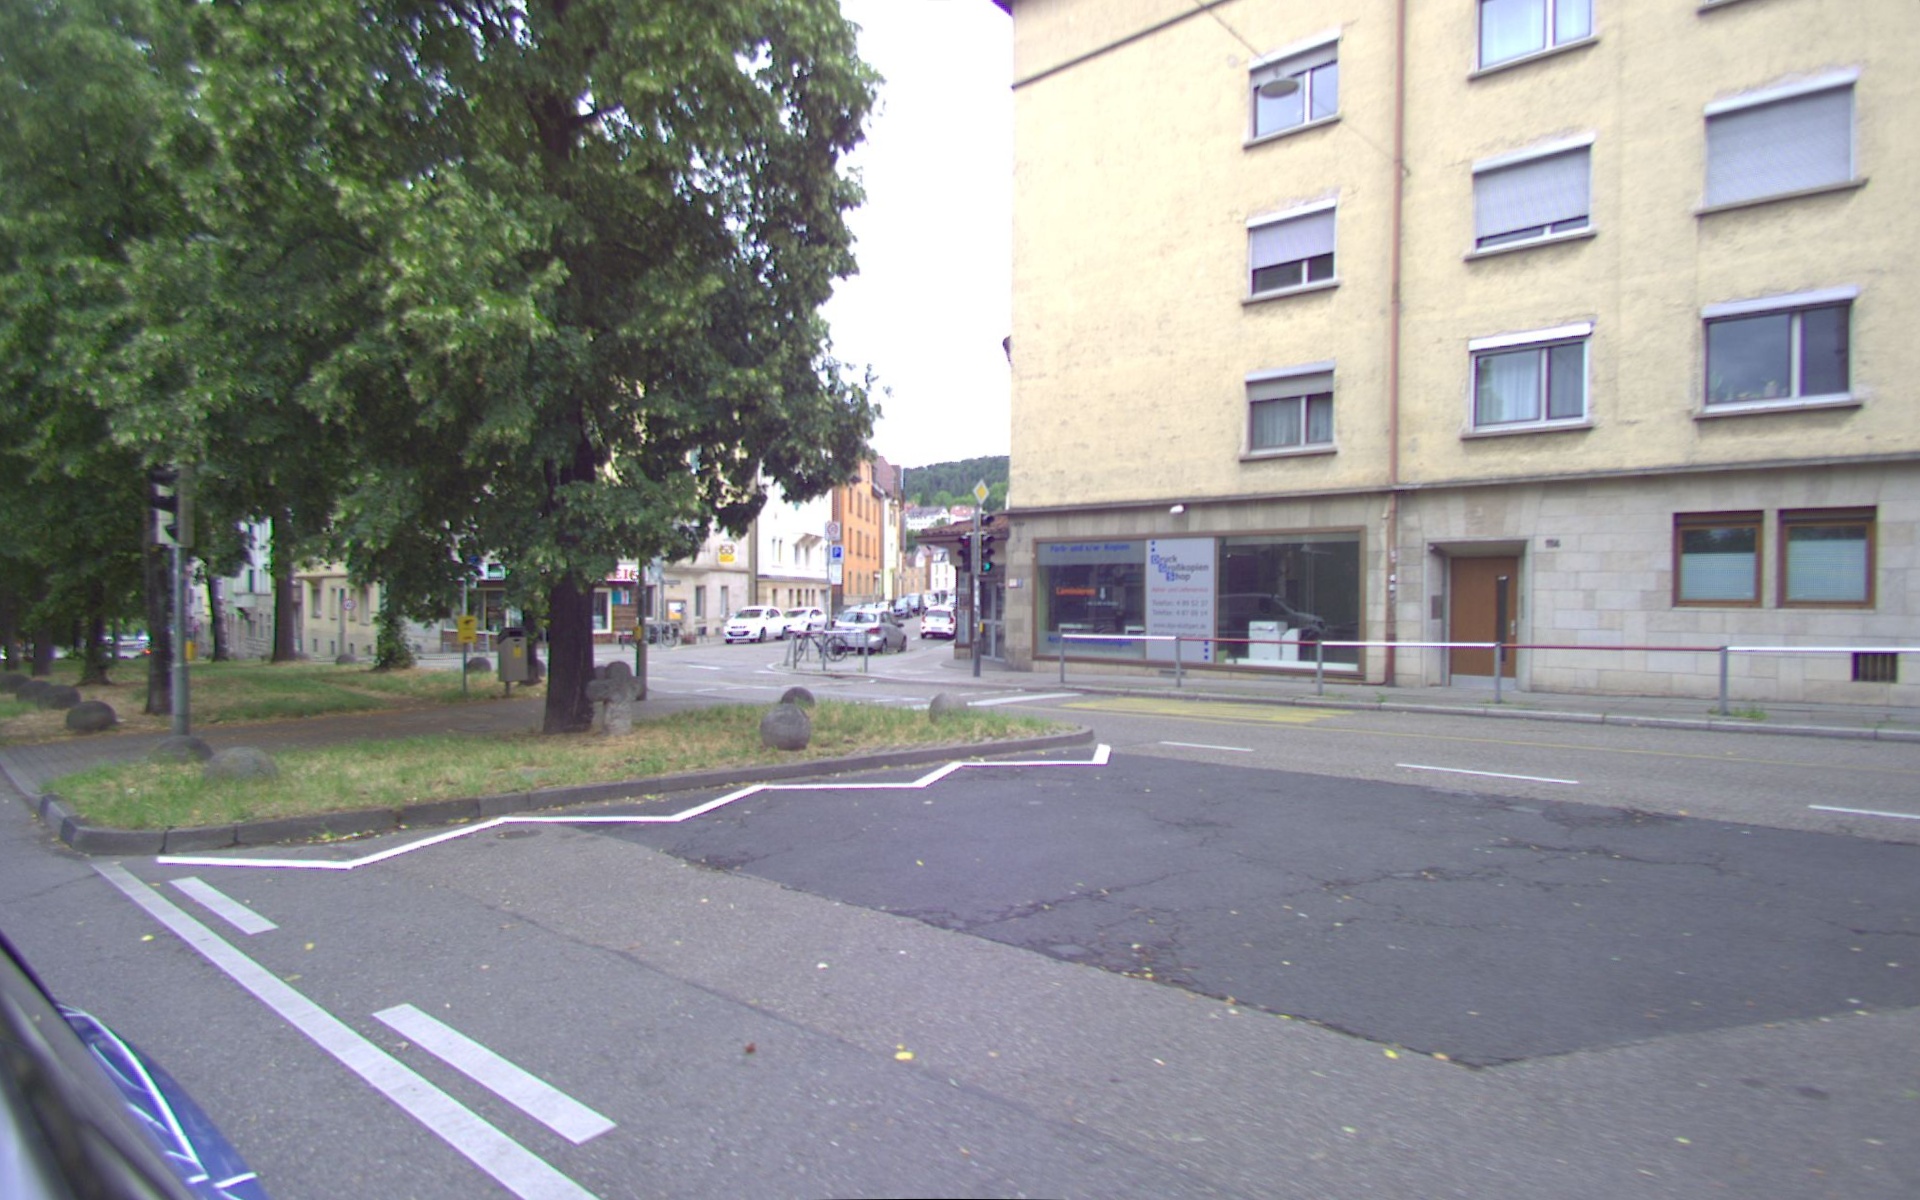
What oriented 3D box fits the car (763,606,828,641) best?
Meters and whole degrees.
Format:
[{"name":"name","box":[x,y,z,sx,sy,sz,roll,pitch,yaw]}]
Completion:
[{"name":"car","box":[-7.701,1.084,47.716,1.845,1.553,3.500,-1,0,13]}]

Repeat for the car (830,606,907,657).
[{"name":"car","box":[-3.036,1.035,34.303,1.670,1.553,3.630,-3,0,9]}]

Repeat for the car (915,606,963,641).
[{"name":"car","box":[-0.946,1.064,47.536,1.709,1.553,3.504,-1,0,8]}]

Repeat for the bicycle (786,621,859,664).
[{"name":"bicycle","box":[-4.006,1.239,29.346,2.049,1.158,0.677,-3,0,29]}]

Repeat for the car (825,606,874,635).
[{"name":"car","box":[-6.318,1.154,58.188,1.961,1.553,3.504,-1,0,8]}]

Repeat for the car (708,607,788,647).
[{"name":"car","box":[-8.940,1.111,43.030,1.964,1.553,3.792,-1,0,12]}]

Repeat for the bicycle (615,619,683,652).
[{"name":"bicycle","box":[-11.798,1.331,38.445,2.310,1.108,0.777,-2,0,-31]}]
